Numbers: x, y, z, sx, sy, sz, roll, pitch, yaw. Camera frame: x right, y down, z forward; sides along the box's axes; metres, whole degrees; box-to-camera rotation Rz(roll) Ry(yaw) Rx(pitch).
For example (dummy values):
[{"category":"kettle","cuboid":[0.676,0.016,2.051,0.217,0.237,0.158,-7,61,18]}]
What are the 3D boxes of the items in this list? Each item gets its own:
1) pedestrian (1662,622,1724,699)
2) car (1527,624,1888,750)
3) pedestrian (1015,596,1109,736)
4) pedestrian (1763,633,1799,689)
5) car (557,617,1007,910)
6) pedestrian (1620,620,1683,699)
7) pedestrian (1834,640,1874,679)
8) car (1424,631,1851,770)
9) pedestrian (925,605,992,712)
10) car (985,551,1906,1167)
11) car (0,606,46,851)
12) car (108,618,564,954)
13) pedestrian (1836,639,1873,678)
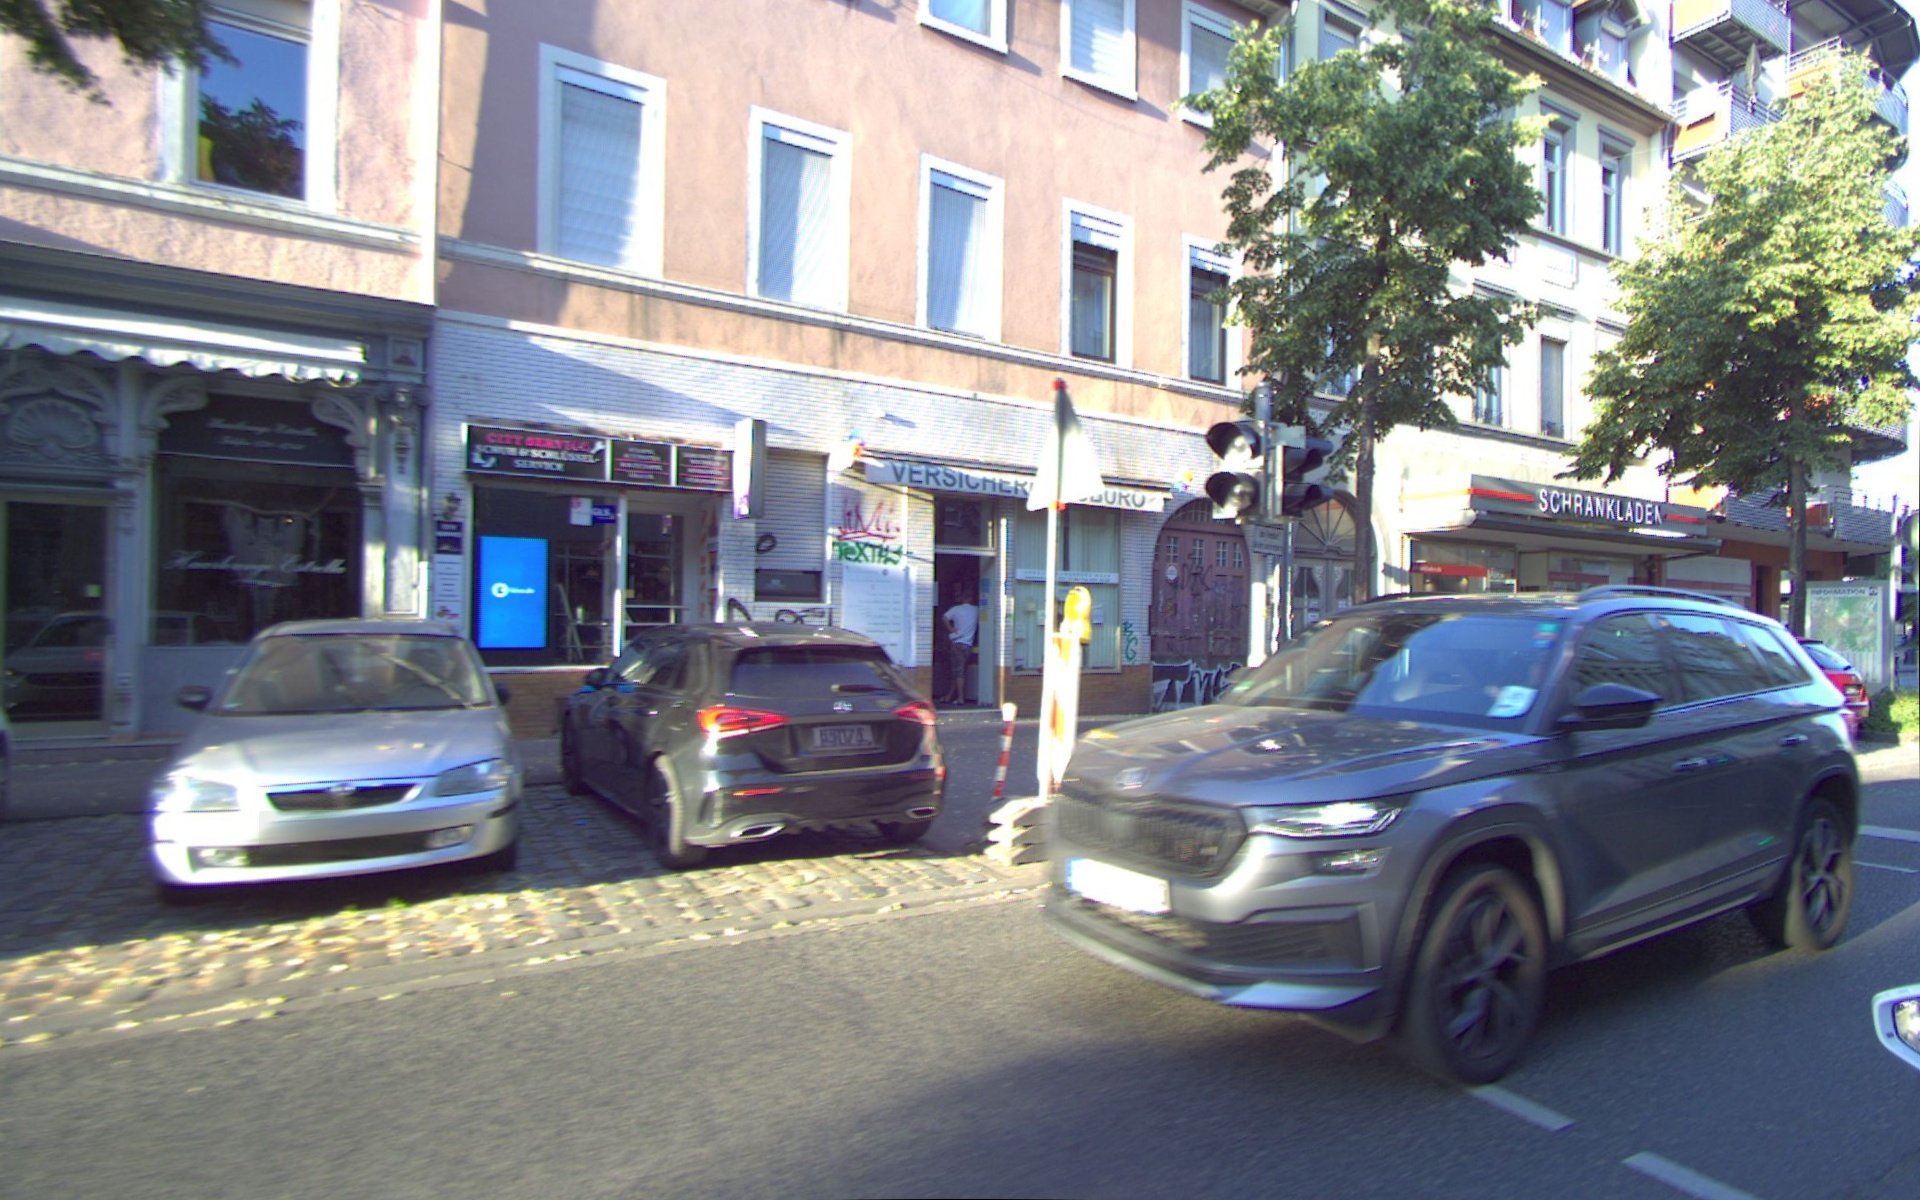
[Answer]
[{"category":"pedestrian","cuboid":[15.230,1.247,20.868,0.865,1.548,0.730,3,-1,-30]},{"category":"car","cuboid":[11.267,1.201,15.450,1.862,1.557,4.053,1,0,-30]},{"category":"pedestrian","cuboid":[1.319,0.837,13.039,0.865,1.744,0.768,3,-1,-30]},{"category":"pedestrian","cuboid":[24.079,1.776,29.463,0.693,1.615,0.594,3,-3,-29]},{"category":"car","cuboid":[-1.584,0.890,7.417,1.863,1.422,4.083,1,0,-32]},{"category":"pedestrian","cuboid":[14.817,1.277,21.522,0.865,1.629,0.768,3,-1,-30]},{"category":"pedestrian","cuboid":[29.562,1.957,33.213,0.761,1.258,0.890,3,-3,-39]},{"category":"car","cuboid":[9.009,1.214,13.816,1.801,1.426,4.546,1,0,-31]},{"category":"pedestrian","cuboid":[-0.028,0.861,15.080,0.804,1.538,0.874,3,-1,-10]},{"category":"car","cuboid":[2.458,0.765,4.761,4.409,1.714,1.852,1,-1,-31]},{"category":"car","cuboid":[-6.095,0.767,4.892,1.786,1.463,3.717,1,0,-33]},{"category":"car","cuboid":[-3.828,0.849,6.576,1.820,1.422,4.080,1,-1,-28]},{"category":"pedestrian","cuboid":[30.109,1.964,33.805,0.742,1.290,0.820,3,-3,-39]}]
